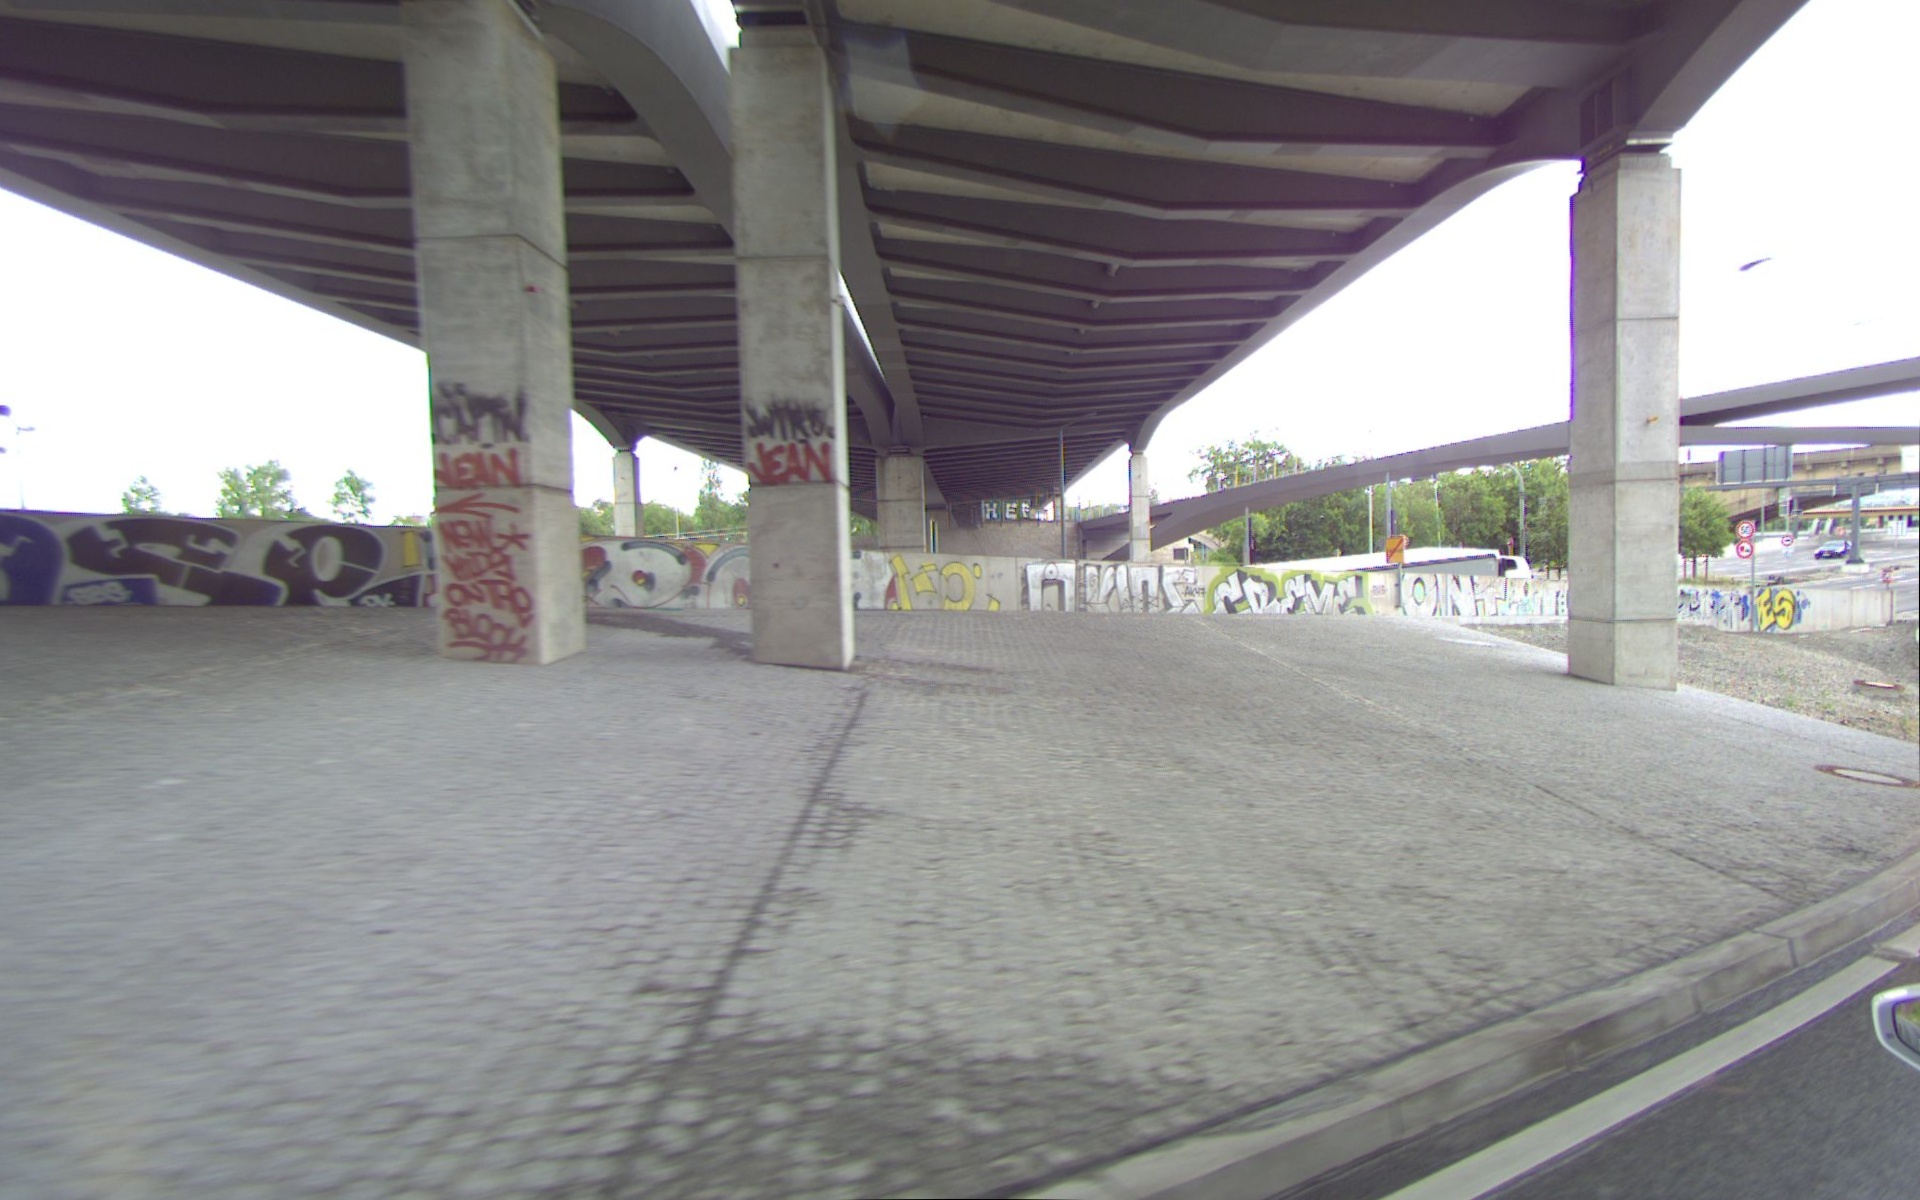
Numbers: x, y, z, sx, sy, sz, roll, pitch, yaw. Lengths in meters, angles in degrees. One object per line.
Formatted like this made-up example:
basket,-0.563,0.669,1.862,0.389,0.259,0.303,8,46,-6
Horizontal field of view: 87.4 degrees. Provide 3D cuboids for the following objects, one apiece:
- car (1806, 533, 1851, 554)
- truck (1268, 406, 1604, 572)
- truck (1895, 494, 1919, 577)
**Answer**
car,72.672,-4.698,84.010,3.953,1.646,1.698,-1,1,-31
truck,14.513,-3.019,30.227,11.096,4.233,2.976,0,2,-28
truck,52.119,-3.416,50.247,16.398,3.862,3.299,-4,5,-31
